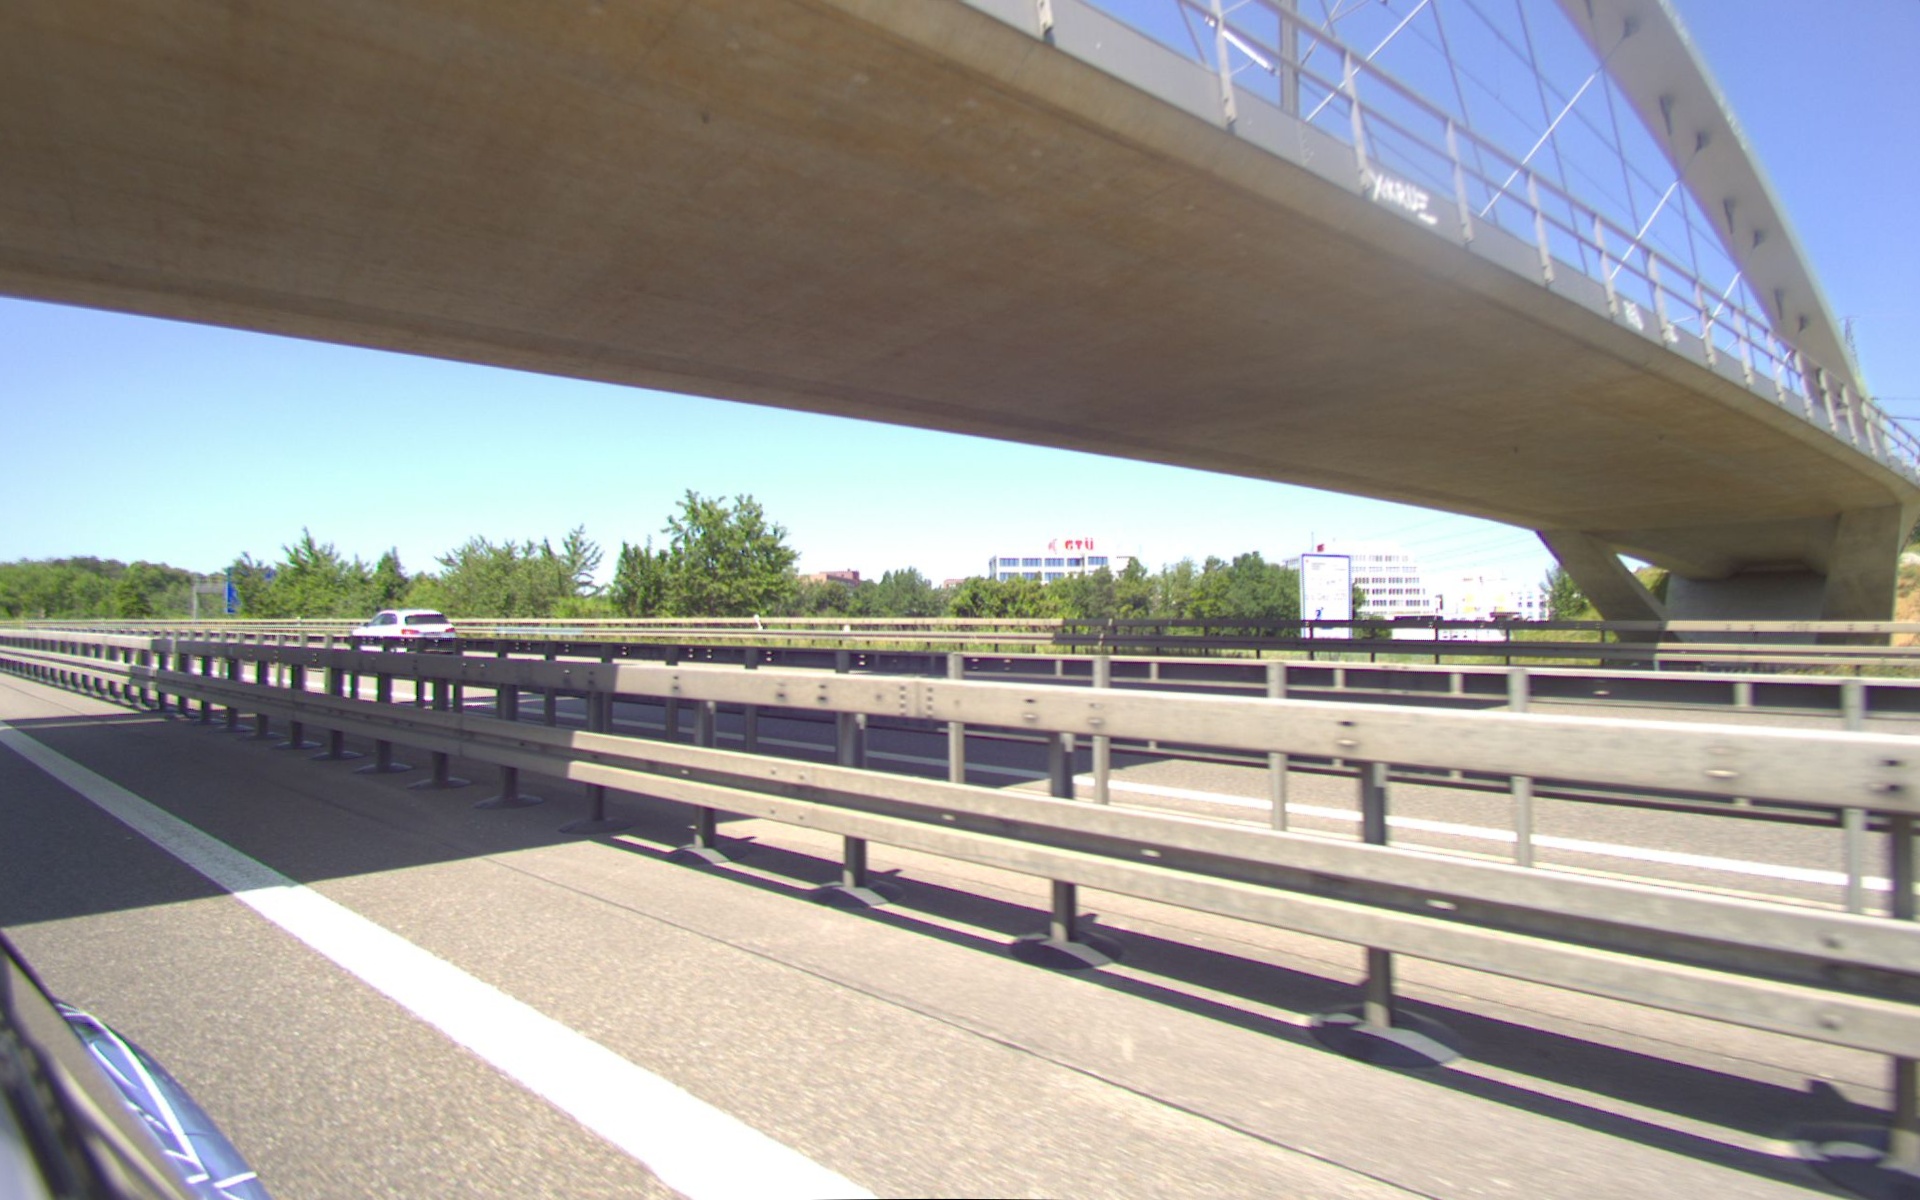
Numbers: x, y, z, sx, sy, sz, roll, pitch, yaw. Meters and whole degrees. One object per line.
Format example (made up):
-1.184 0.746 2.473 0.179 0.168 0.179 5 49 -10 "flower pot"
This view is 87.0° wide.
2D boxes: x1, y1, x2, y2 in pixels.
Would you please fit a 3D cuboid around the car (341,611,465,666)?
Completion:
-18.182 1.217 32.936 4.973 1.651 1.908 -1 -1 41 "car"
